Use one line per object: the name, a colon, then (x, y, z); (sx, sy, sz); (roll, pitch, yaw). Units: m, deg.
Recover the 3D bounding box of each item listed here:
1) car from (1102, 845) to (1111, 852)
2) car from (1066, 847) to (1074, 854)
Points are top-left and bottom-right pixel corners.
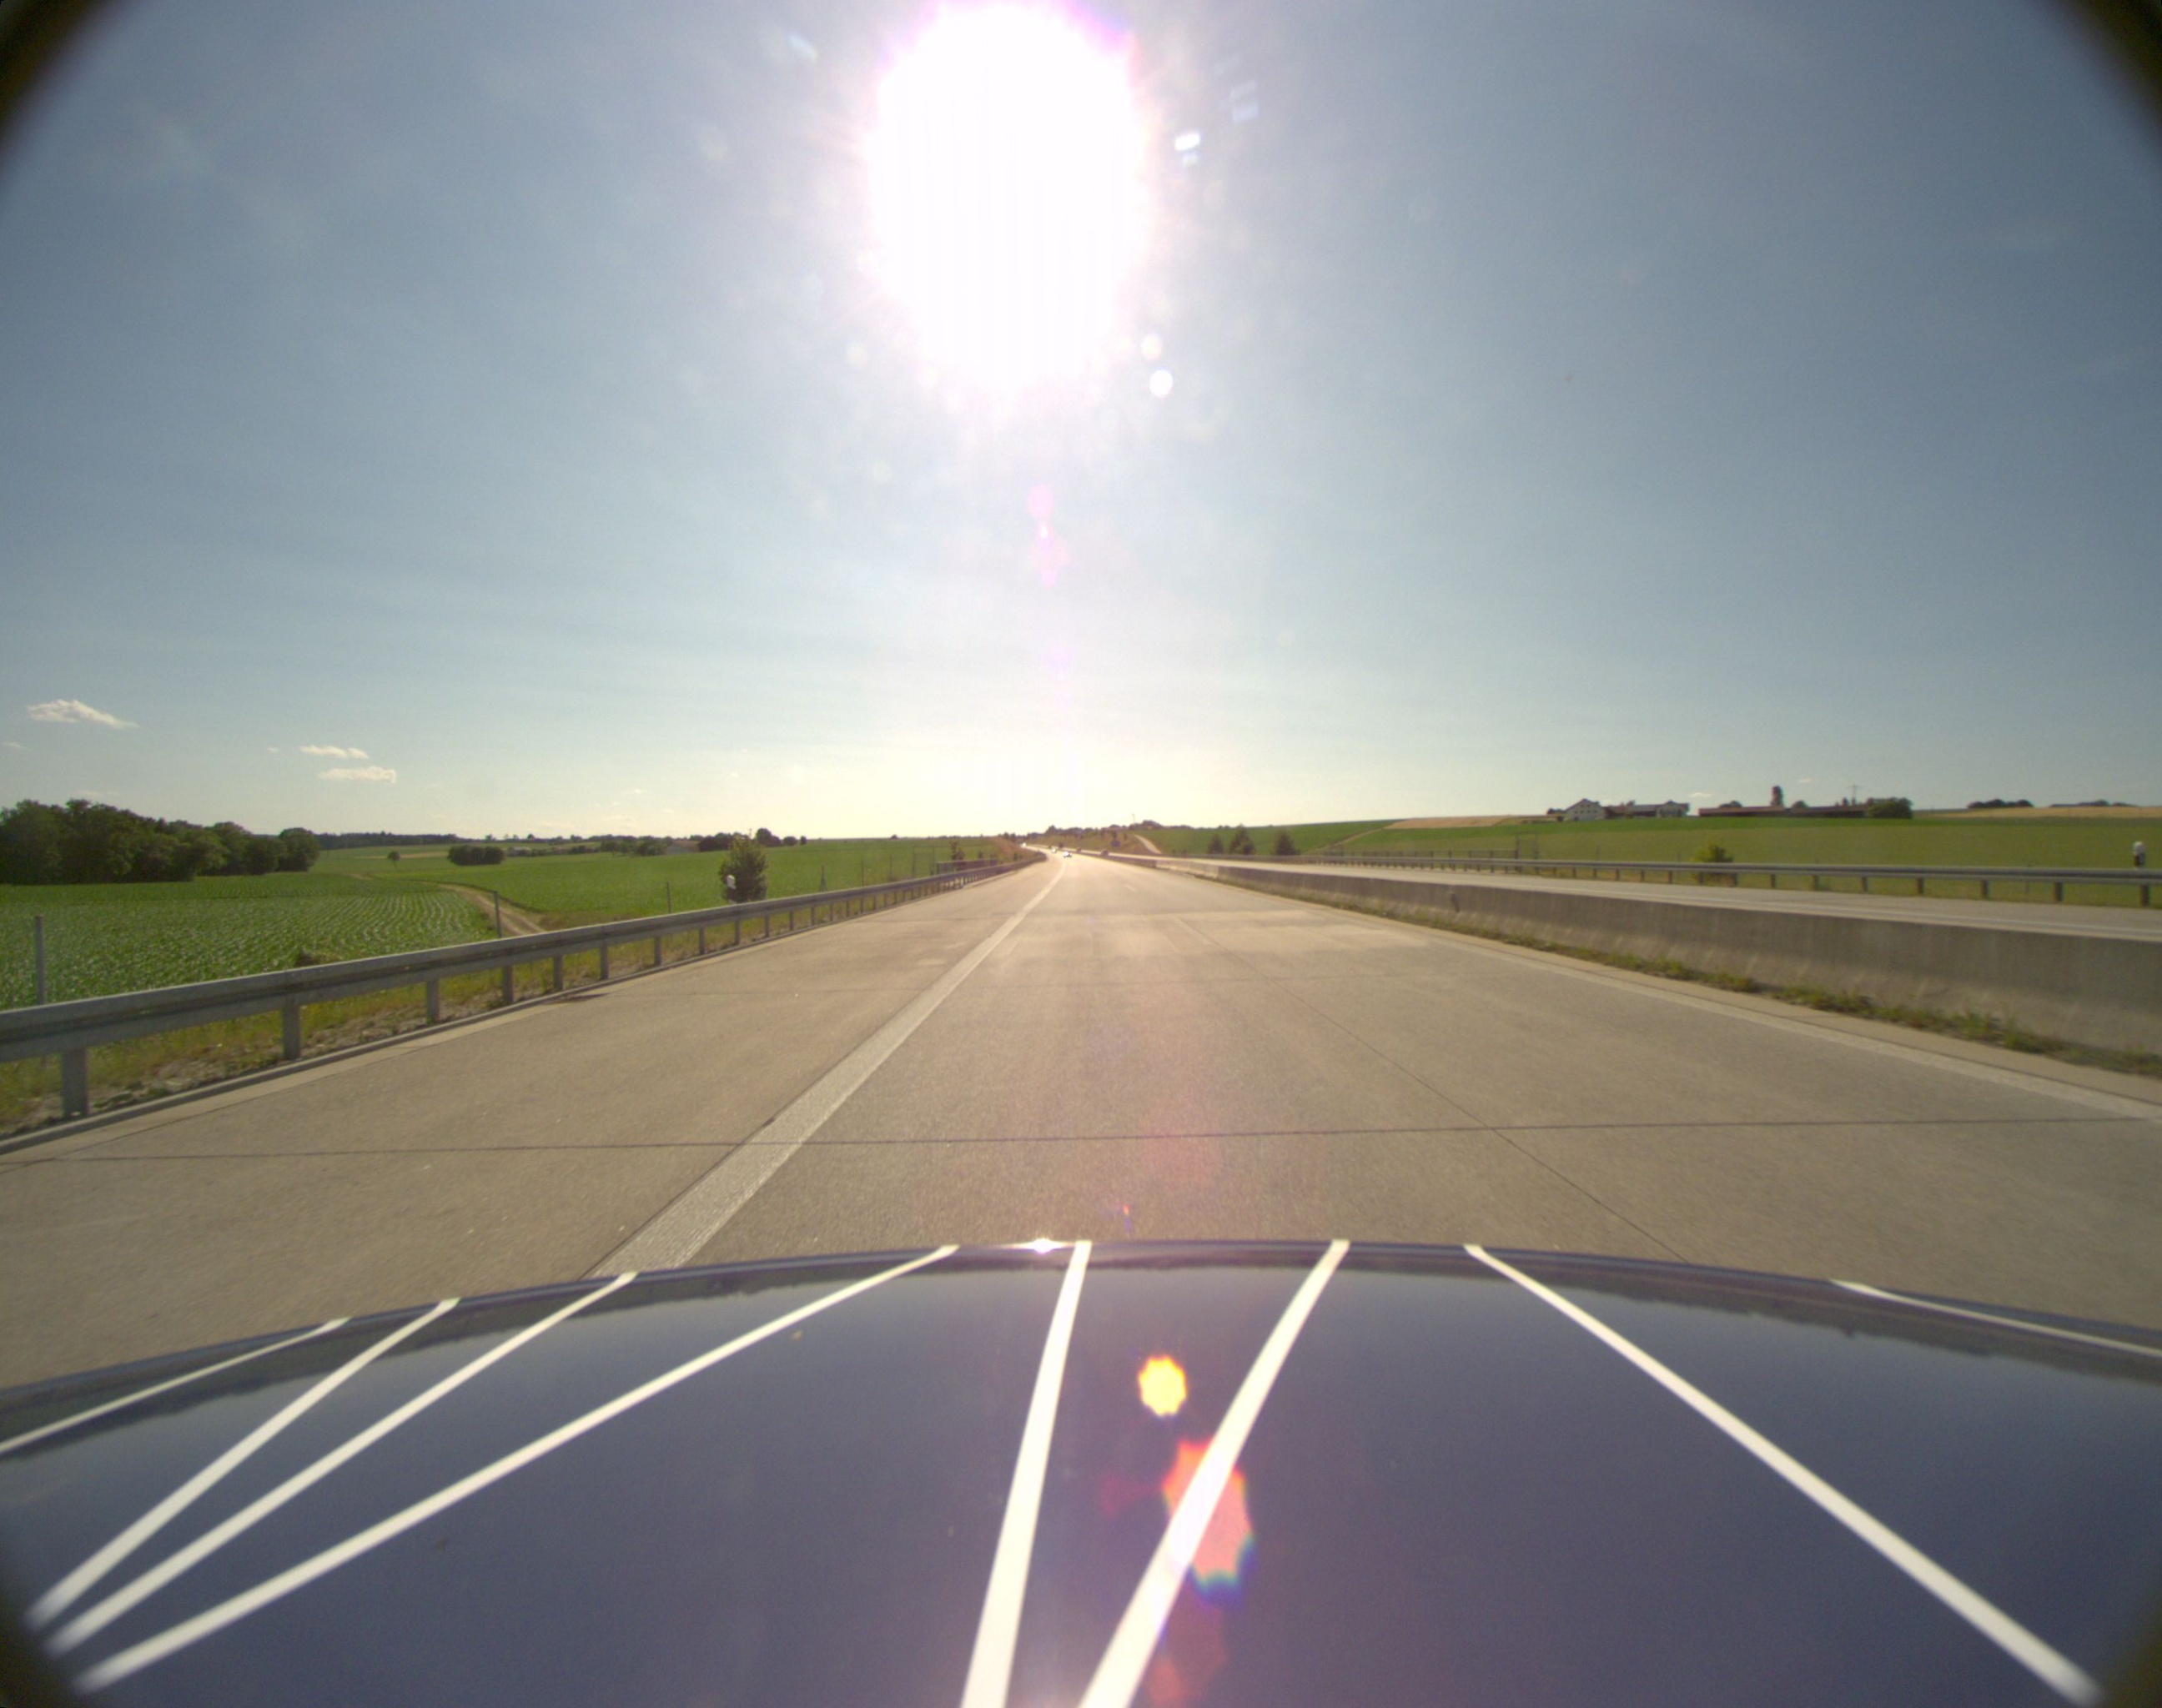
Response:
car: (6.919, -1.542, 205.269); (1.871, 1.715, 4.397); (-2, 1, -3)
car: (-2.598, -0.810, 184.026); (1.715, 1.580, 4.627); (-2, 1, 1)
